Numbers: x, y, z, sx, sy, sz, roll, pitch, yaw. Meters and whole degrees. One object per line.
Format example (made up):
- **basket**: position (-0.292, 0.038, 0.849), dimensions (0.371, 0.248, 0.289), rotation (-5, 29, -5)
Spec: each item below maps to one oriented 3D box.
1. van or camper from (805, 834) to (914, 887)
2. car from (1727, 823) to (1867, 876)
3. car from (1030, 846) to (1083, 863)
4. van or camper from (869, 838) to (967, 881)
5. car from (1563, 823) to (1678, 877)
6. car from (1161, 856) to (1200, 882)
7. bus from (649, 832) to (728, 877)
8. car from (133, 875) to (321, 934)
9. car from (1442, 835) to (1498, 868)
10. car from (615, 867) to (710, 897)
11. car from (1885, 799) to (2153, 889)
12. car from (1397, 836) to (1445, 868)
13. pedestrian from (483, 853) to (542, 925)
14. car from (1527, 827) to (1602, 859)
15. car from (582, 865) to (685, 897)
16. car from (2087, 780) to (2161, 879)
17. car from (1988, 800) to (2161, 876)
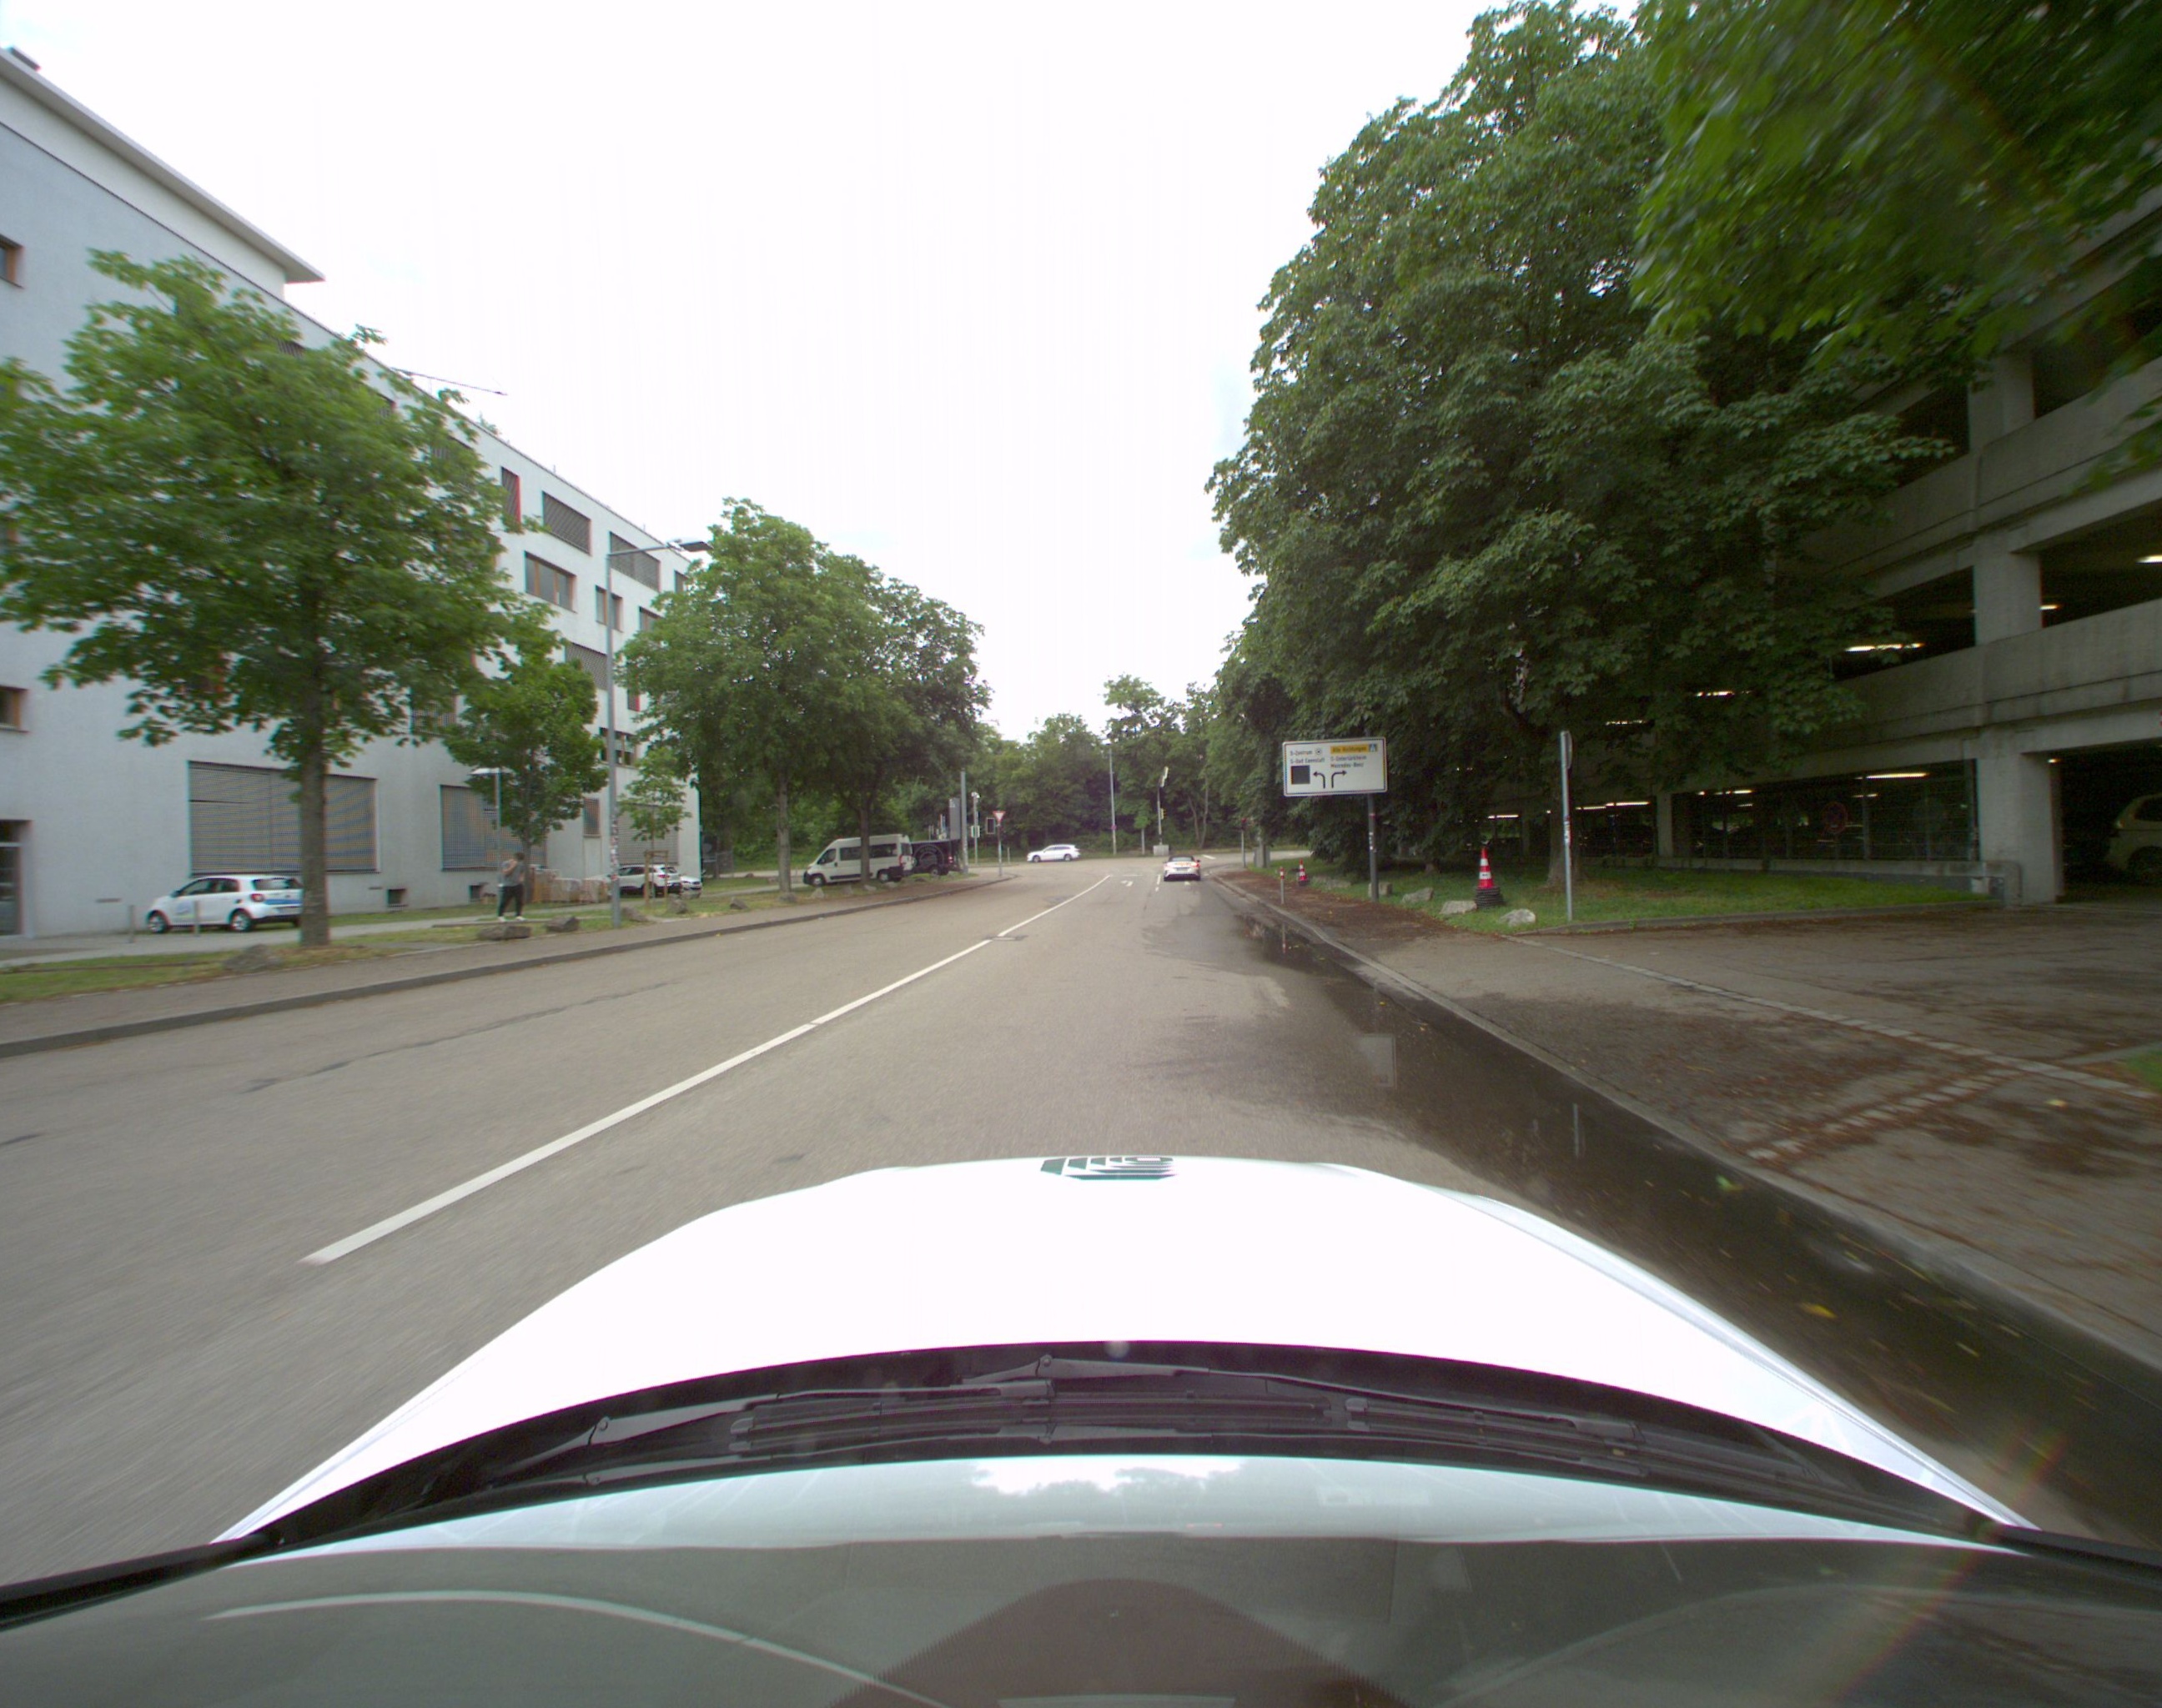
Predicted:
- **van or camper**: position (-11.306, 0.347, 41.846), dimensions (4.948, 2.570, 2.064), rotation (-1, -1, 3)
- **car**: position (24.395, -0.115, 27.929), dimensions (1.708, 1.680, 3.706), rotation (-1, -1, 5)
- **car**: position (-2.209, 0.034, 73.887), dimensions (4.656, 1.456, 1.900), rotation (-1, -1, 1)
- **van or camper**: position (-10.236, 0.357, 51.283), dimensions (5.505, 2.313, 2.066), rotation (-4, -2, 7)
- **car**: position (22.043, -0.100, 33.534), dimensions (1.983, 2.014, 4.682), rotation (-1, -1, 6)
- **car**: position (5.179, 0.790, 42.660), dimensions (1.819, 1.257, 4.004), rotation (-1, -1, 4)
- **bus**: position (-35.948, 0.046, 74.683), dimensions (6.188, 3.958, 2.353), rotation (-1, -2, 5)
- **car**: position (-23.534, 1.362, 22.518), dimensions (3.594, 1.500, 1.695), rotation (-1, -1, 5)
- **car**: position (21.181, -0.110, 44.483), dimensions (1.572, 1.708, 3.776), rotation (-1, -1, 6)
- **car**: position (-21.805, 1.436, 42.530), dimensions (3.983, 1.456, 1.900), rotation (-1, -1, 1)
- **car**: position (19.963, -0.144, 17.625), dimensions (1.577, 1.708, 3.864), rotation (-1, -1, 6)
- **car**: position (18.859, -0.073, 45.305), dimensions (1.473, 1.708, 3.725), rotation (-1, -1, 6)
- **pedestrian**: position (-13.651, 0.831, 19.582), dimensions (0.840, 1.672, 0.786), rotation (-1, -2, 0)
- **car**: position (26.254, -0.570, 44.376), dimensions (1.983, 1.552, 4.007), rotation (-1, -1, 6)
- **car**: position (-21.905, 1.326, 40.005), dimensions (3.983, 1.456, 1.900), rotation (-1, -1, 1)
- **car**: position (19.348, -0.458, 12.800), dimensions (1.577, 1.708, 4.675), rotation (-1, -1, 6)
- **car**: position (23.007, -0.317, 18.095), dimensions (1.708, 1.546, 3.706), rotation (-1, -1, 5)
